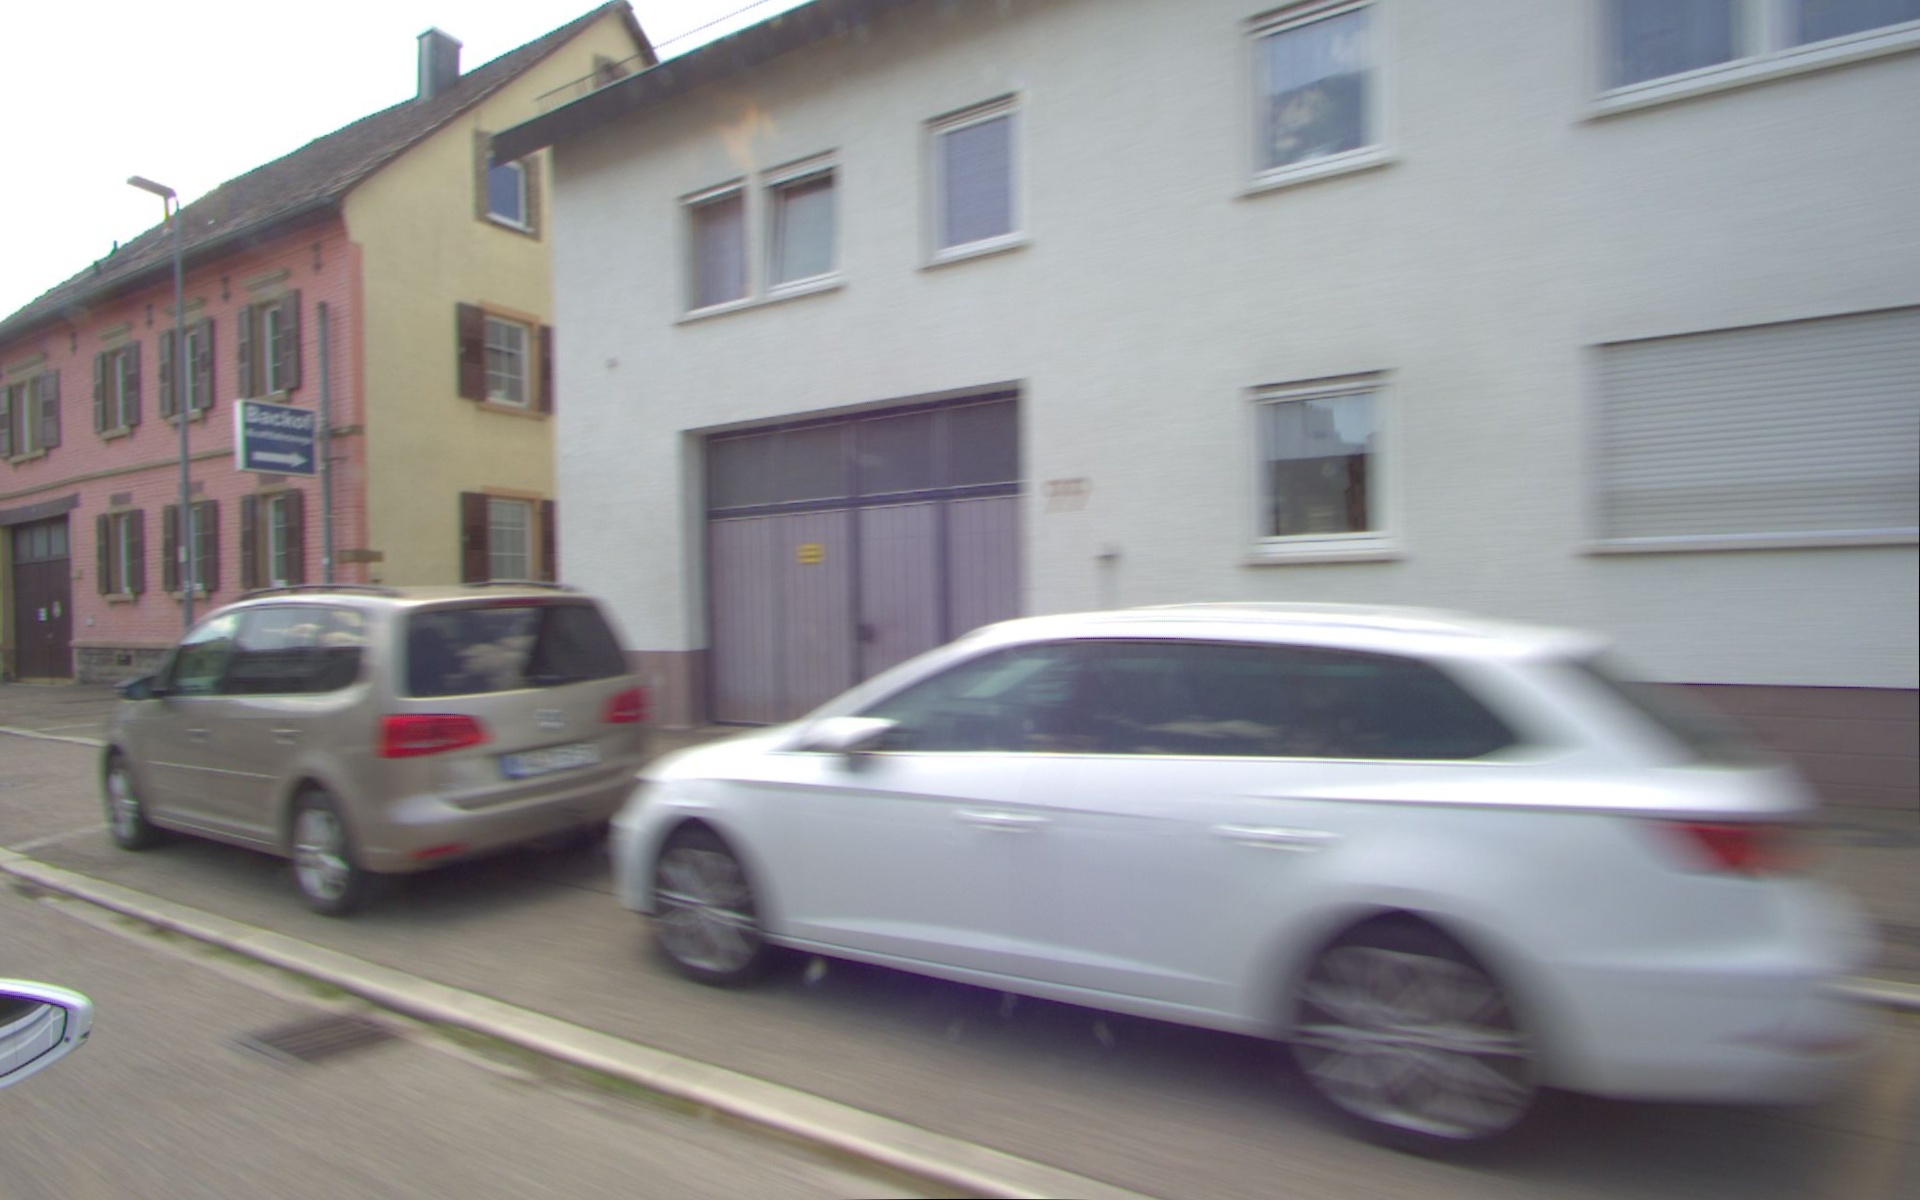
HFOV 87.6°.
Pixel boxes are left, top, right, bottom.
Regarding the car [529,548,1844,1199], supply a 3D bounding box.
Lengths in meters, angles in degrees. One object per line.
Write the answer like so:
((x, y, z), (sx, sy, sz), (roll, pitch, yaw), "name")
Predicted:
((0.517, 0.694, 4.110), (4.305, 1.537, 1.991), (-1, 0, 29), "car")

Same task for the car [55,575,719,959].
((-3.797, 0.776, 6.449), (4.262, 1.703, 1.989), (-1, 0, 33), "car")
